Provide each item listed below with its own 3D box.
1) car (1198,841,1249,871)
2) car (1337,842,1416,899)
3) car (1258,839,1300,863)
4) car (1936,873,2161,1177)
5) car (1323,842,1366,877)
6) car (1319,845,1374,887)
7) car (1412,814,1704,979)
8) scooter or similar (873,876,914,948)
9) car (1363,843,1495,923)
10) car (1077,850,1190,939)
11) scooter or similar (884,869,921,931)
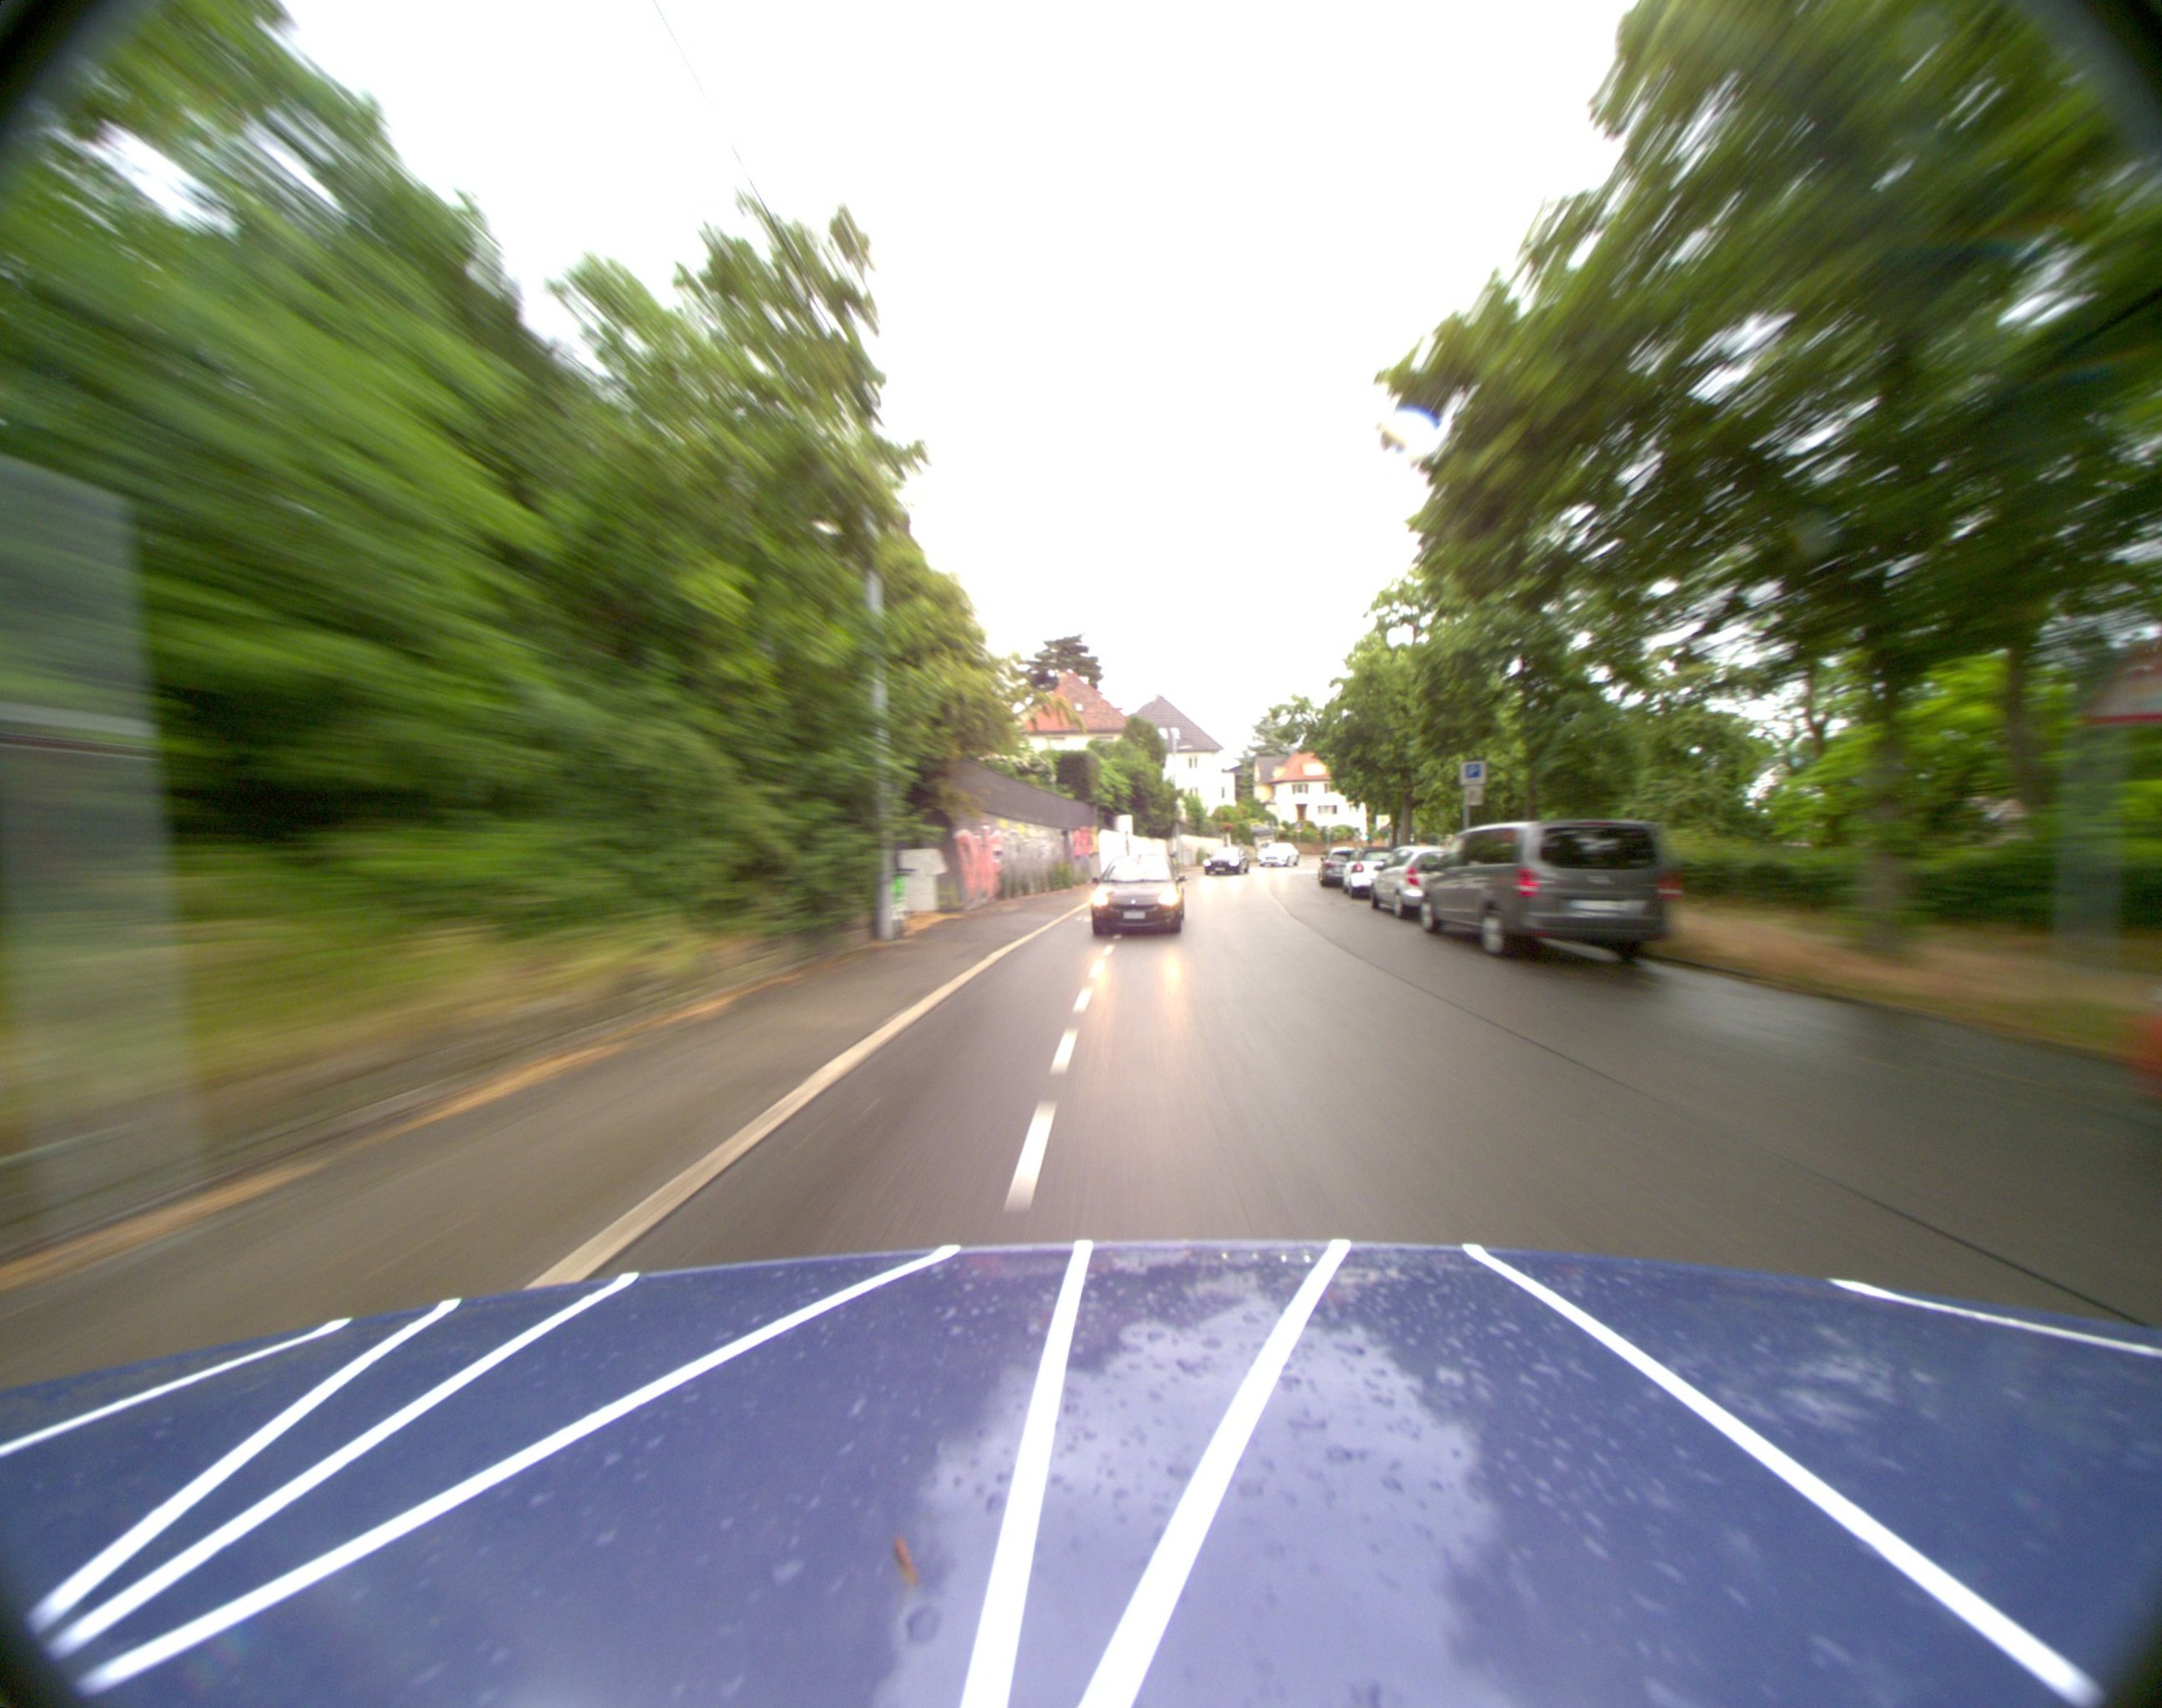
[{"bbox_3d":[7.665,0.074,40.524,2.028,1.455,4.005,-1,1,20],"label":"car"},{"bbox_3d":[9.079,0.427,23.639,1.686,1.501,4.209,2,2,14],"label":"car"},{"bbox_3d":[14.140,-0.235,54.076,2.026,1.620,4.235,1,2,27],"label":"car"},{"bbox_3d":[6.170,0.868,2.379,1.958,1.453,4.576,1,0,3],"label":"car"},{"bbox_3d":[12.062,0.186,34.681,1.656,1.422,4.380,1,2,21],"label":"car"},{"bbox_3d":[10.065,0.390,29.076,1.685,1.373,4.505,2,2,16],"label":"car"},{"bbox_3d":[6.941,0.502,11.857,1.958,1.956,5.005,2,1,9],"label":"car"},{"bbox_3d":[-3.238,0.977,13.196,0.347,1.111,1.422,2,1,-1],"label":"scooter or similar"},{"bbox_3d":[7.825,0.568,17.470,1.686,1.544,3.768,2,2,8],"label":"car"},{"bbox_3d":[1.230,0.714,15.742,1.803,1.418,4.385,-4,1,10],"label":"car"},{"bbox_3d":[-3.577,0.892,15.153,0.348,1.111,1.419,2,2,-27],"label":"scooter or similar"}]
